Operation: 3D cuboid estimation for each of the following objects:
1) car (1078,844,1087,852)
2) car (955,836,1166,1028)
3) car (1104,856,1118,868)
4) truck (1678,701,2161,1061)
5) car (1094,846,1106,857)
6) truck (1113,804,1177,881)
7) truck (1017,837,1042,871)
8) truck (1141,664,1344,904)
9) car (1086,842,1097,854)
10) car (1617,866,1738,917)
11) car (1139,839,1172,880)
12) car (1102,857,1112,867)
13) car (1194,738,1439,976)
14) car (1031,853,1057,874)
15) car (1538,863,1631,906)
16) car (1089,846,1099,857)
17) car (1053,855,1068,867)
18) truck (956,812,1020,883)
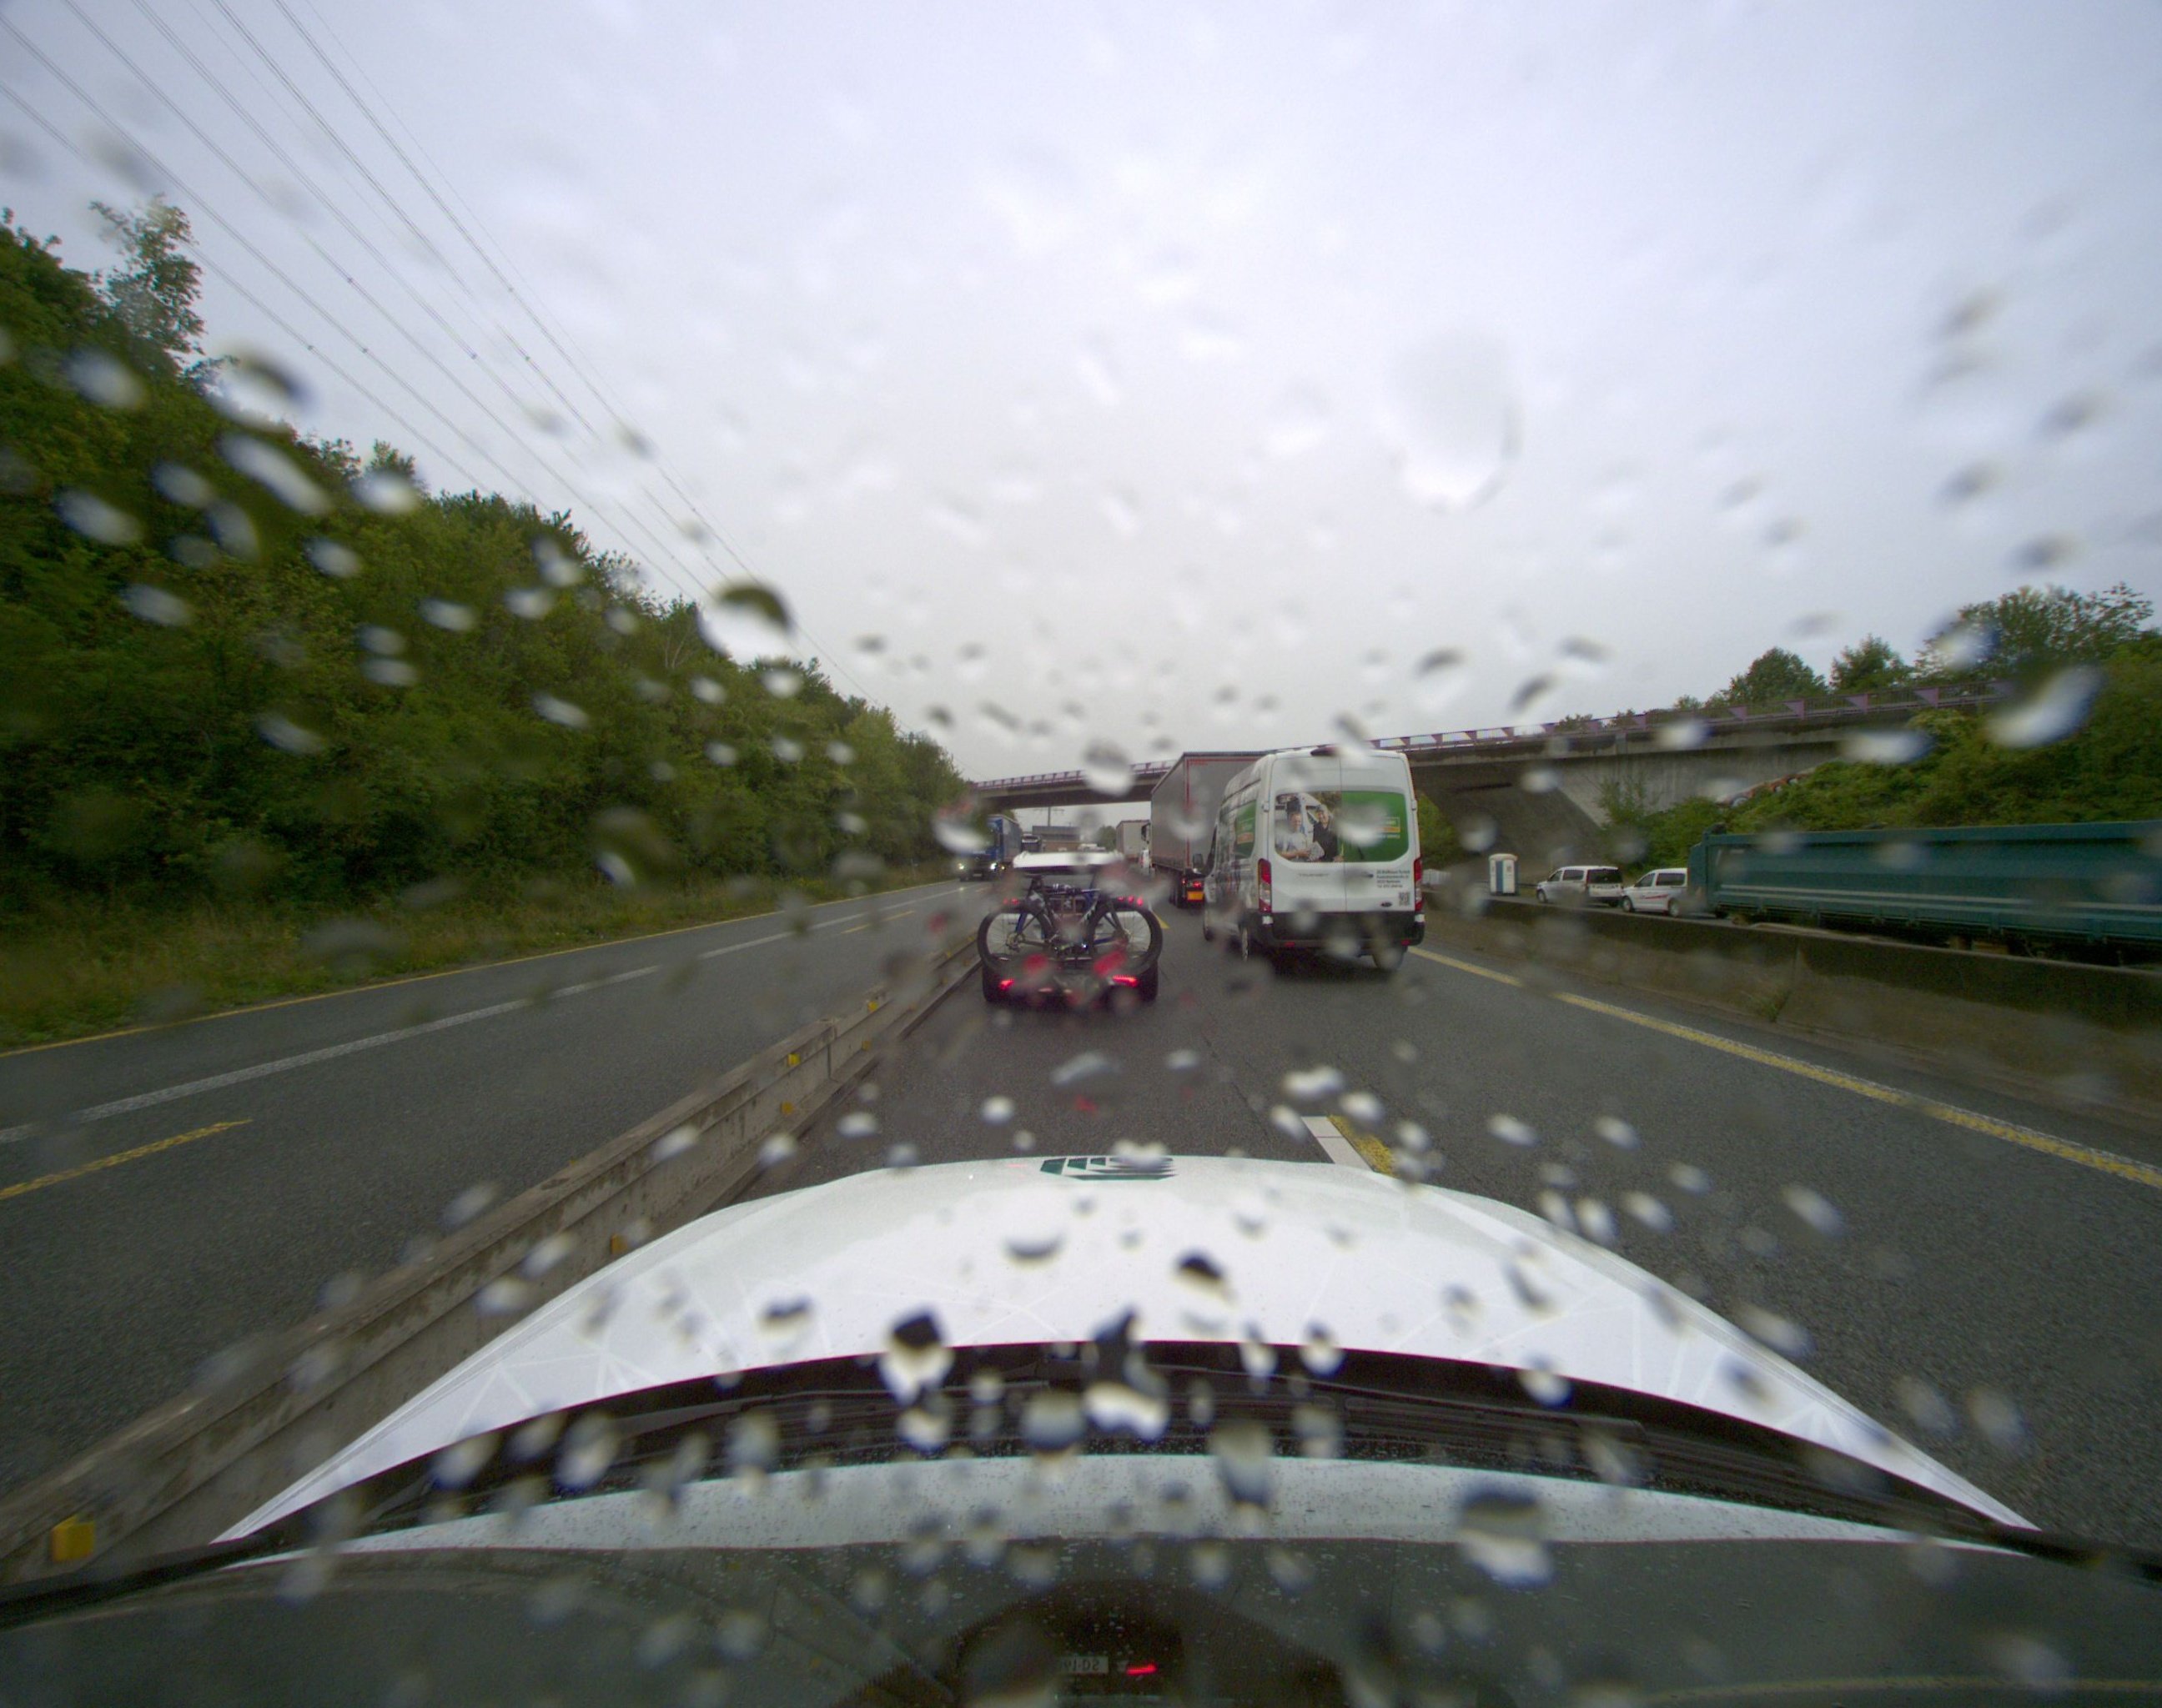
[{"bbox_3d":[0.428,-1.509,205.843,1.986,2.126,4.528,-1,-1,2],"label":"car"},{"bbox_3d":[-0.055,0.690,9.322,1.803,1.637,4.639,-1,0,3],"label":"car"},{"bbox_3d":[3.743,0.986,101.996,1.632,1.497,3.667,-1,0,2],"label":"car"},{"bbox_3d":[10.689,0.233,8.403,2.511,3.132,9.120,-1,0,1],"label":"truck"},{"bbox_3d":[3.361,-0.442,144.451,1.987,2.014,3.999,-1,-1,0],"label":"car"},{"bbox_3d":[5.301,-0.801,70.987,4.723,5.673,20.390,-1,0,3],"label":"truck"},{"bbox_3d":[-6.531,0.050,105.468,2.455,4.123,10.088,-1,0,1],"label":"truck"},{"bbox_3d":[4.592,-1.591,29.565,3.964,5.673,20.384,-1,0,2],"label":"truck"},{"bbox_3d":[2.226,-1.275,175.622,2.231,2.307,4.574,-1,-1,2],"label":"car"},{"bbox_3d":[22.307,1.344,30.663,1.721,1.745,4.128,-1,0,4],"label":"car"},{"bbox_3d":[4.152,0.298,45.904,1.663,2.180,4.538,-1,-1,3],"label":"car"},{"bbox_3d":[4.074,1.200,127.863,1.632,1.497,3.667,-1,0,2],"label":"car"},{"bbox_3d":[3.080,0.056,12.253,2.136,2.676,6.120,-1,0,2],"label":"car"},{"bbox_3d":[-2.820,0.724,63.134,1.777,1.610,4.104,-1,0,1],"label":"car"},{"bbox_3d":[22.625,1.312,36.801,1.839,1.809,4.161,-1,0,4],"label":"car"},{"bbox_3d":[2.628,-0.512,163.134,1.986,2.014,4.002,-1,-1,2],"label":"car"},{"bbox_3d":[-2.638,0.906,105.041,1.933,1.494,3.997,-1,0,-2],"label":"car"},{"bbox_3d":[-6.058,-0.305,55.911,2.758,4.123,16.917,-1,0,-1],"label":"truck"}]
